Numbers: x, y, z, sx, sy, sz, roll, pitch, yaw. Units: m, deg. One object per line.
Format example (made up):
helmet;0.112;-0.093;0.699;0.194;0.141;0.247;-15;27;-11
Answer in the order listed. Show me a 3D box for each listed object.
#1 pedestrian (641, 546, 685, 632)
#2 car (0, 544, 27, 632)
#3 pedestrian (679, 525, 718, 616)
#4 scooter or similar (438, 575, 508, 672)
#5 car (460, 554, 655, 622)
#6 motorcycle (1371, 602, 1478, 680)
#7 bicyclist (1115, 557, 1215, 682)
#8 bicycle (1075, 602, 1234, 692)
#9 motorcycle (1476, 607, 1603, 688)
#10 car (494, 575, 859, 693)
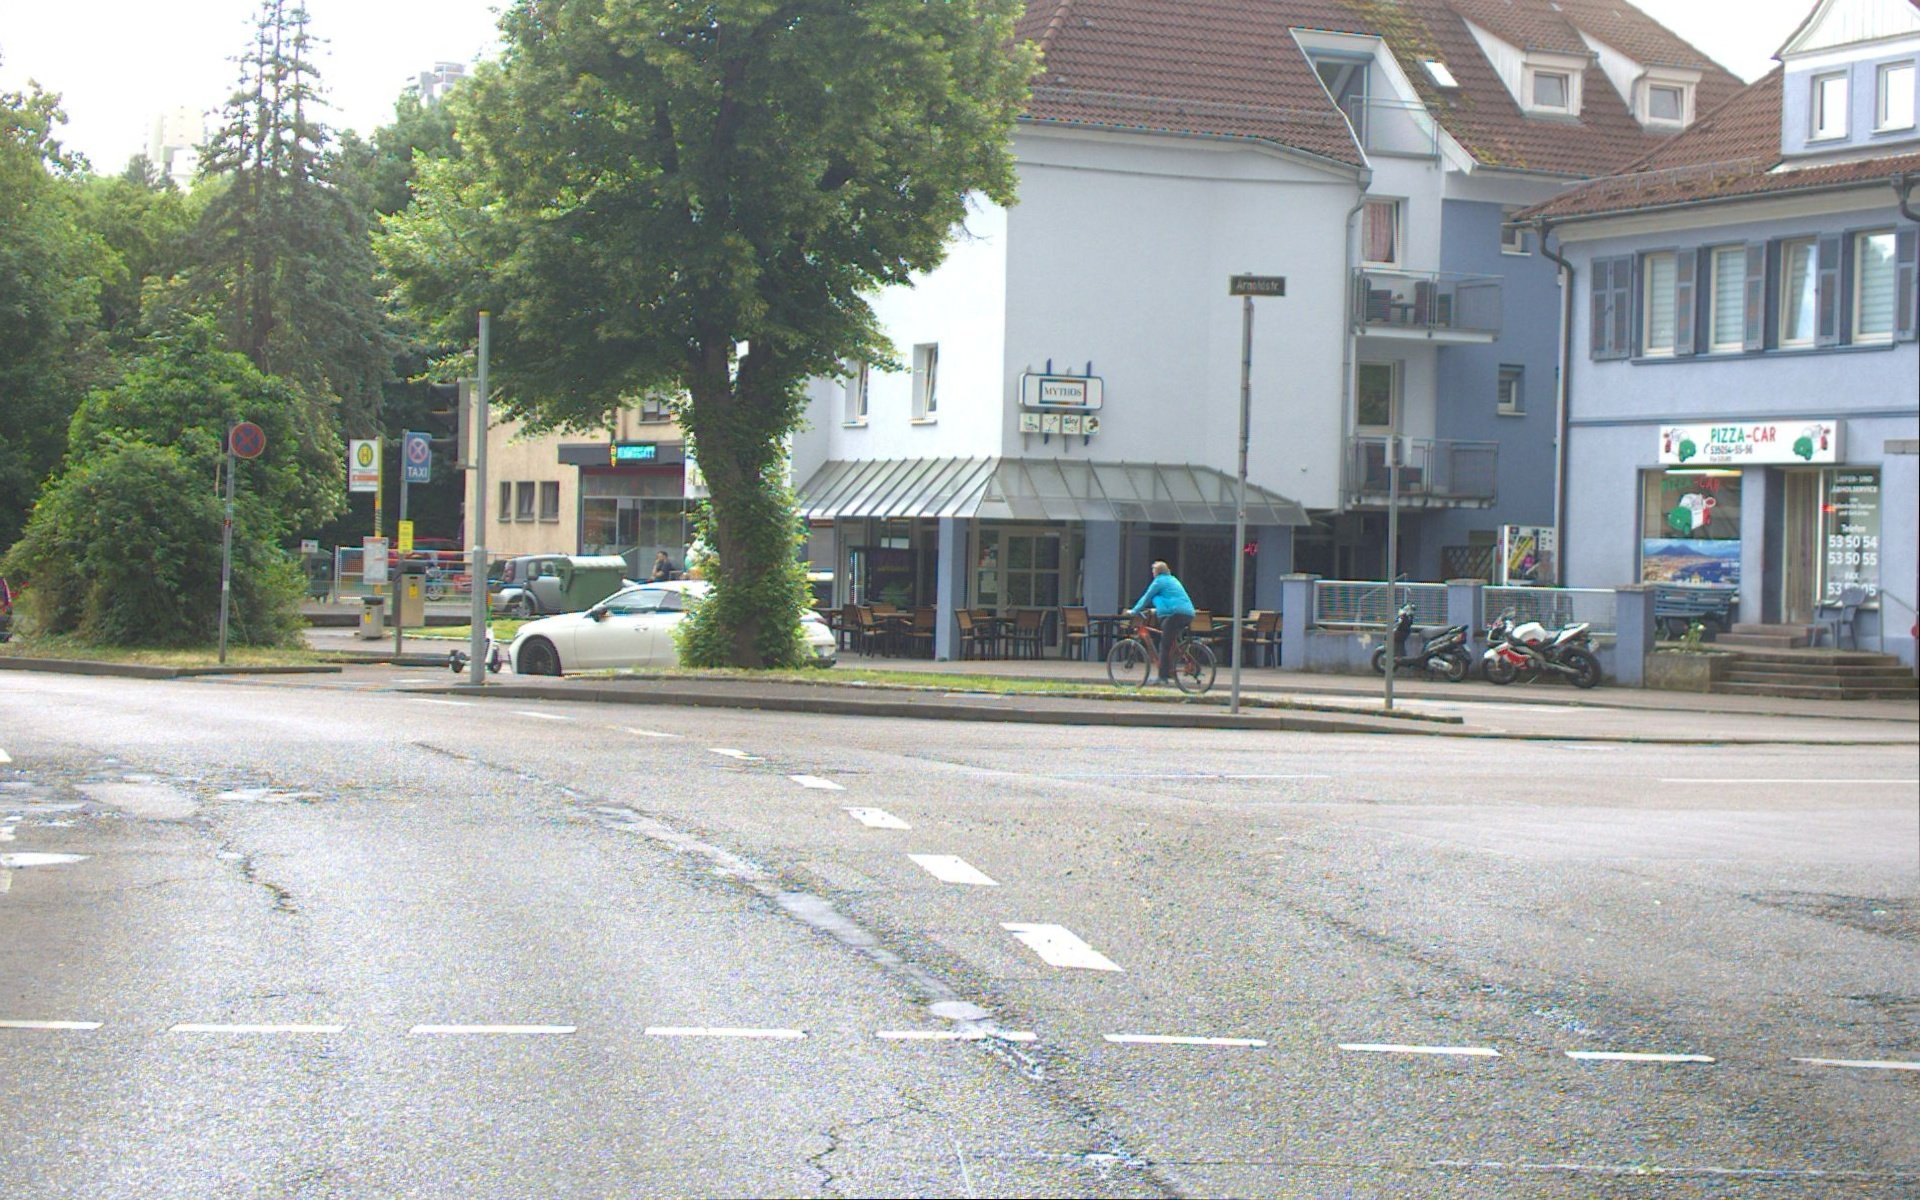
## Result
pedestrian;-6.987;-0.260;80.836;0.837;2.007;1.056;1;1;-14
car;-16.419;-0.217;53.513;3.322;1.347;1.778;1;1;27
pedestrian;-4.510;-0.501;59.218;0.543;1.554;0.467;0;0;13
scooter or similar;-6.029;0.283;42.608;0.442;1.171;1.437;1;1;9
car;-8.856;-0.271;75.622;3.936;1.437;1.753;1;1;-20
motorcycle;6.774;0.590;50.126;1.458;1.085;0.523;1;1;35
bicyclist;2.760;0.256;46.241;0.987;1.646;0.916;1;1;35
bicycle;2.617;0.622;46.328;1.950;1.145;0.874;2;1;36
motorcycle;8.150;0.662;48.356;1.628;1.085;0.626;1;1;32
car;-3.804;0.421;45.753;4.709;1.405;1.898;2;1;35
